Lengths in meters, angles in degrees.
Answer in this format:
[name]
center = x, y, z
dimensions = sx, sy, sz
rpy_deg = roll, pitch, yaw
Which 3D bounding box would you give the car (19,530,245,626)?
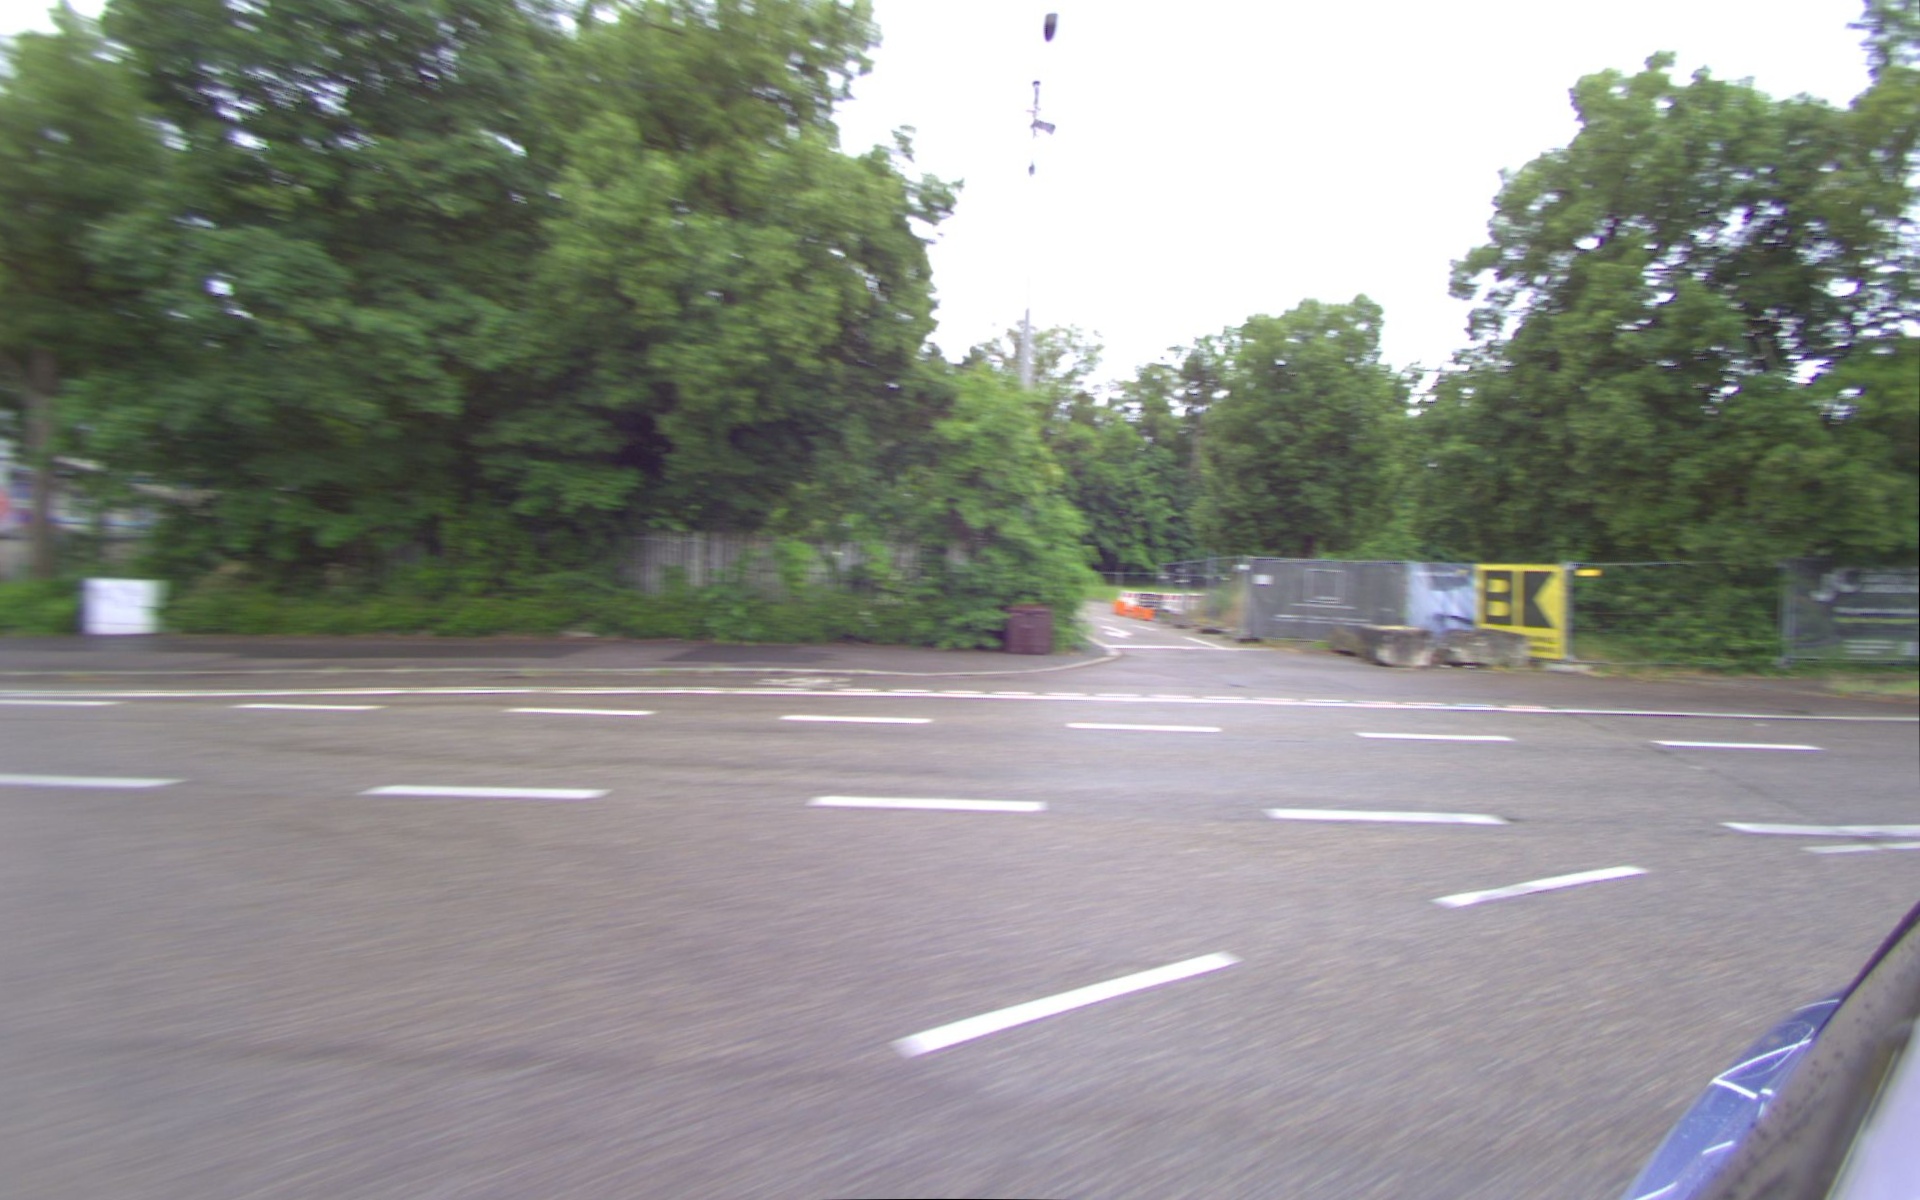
[car]
center = -19.149, -0.522, 23.511
dimensions = 3.932, 2.038, 1.996
rpy_deg = 0, 2, -43
